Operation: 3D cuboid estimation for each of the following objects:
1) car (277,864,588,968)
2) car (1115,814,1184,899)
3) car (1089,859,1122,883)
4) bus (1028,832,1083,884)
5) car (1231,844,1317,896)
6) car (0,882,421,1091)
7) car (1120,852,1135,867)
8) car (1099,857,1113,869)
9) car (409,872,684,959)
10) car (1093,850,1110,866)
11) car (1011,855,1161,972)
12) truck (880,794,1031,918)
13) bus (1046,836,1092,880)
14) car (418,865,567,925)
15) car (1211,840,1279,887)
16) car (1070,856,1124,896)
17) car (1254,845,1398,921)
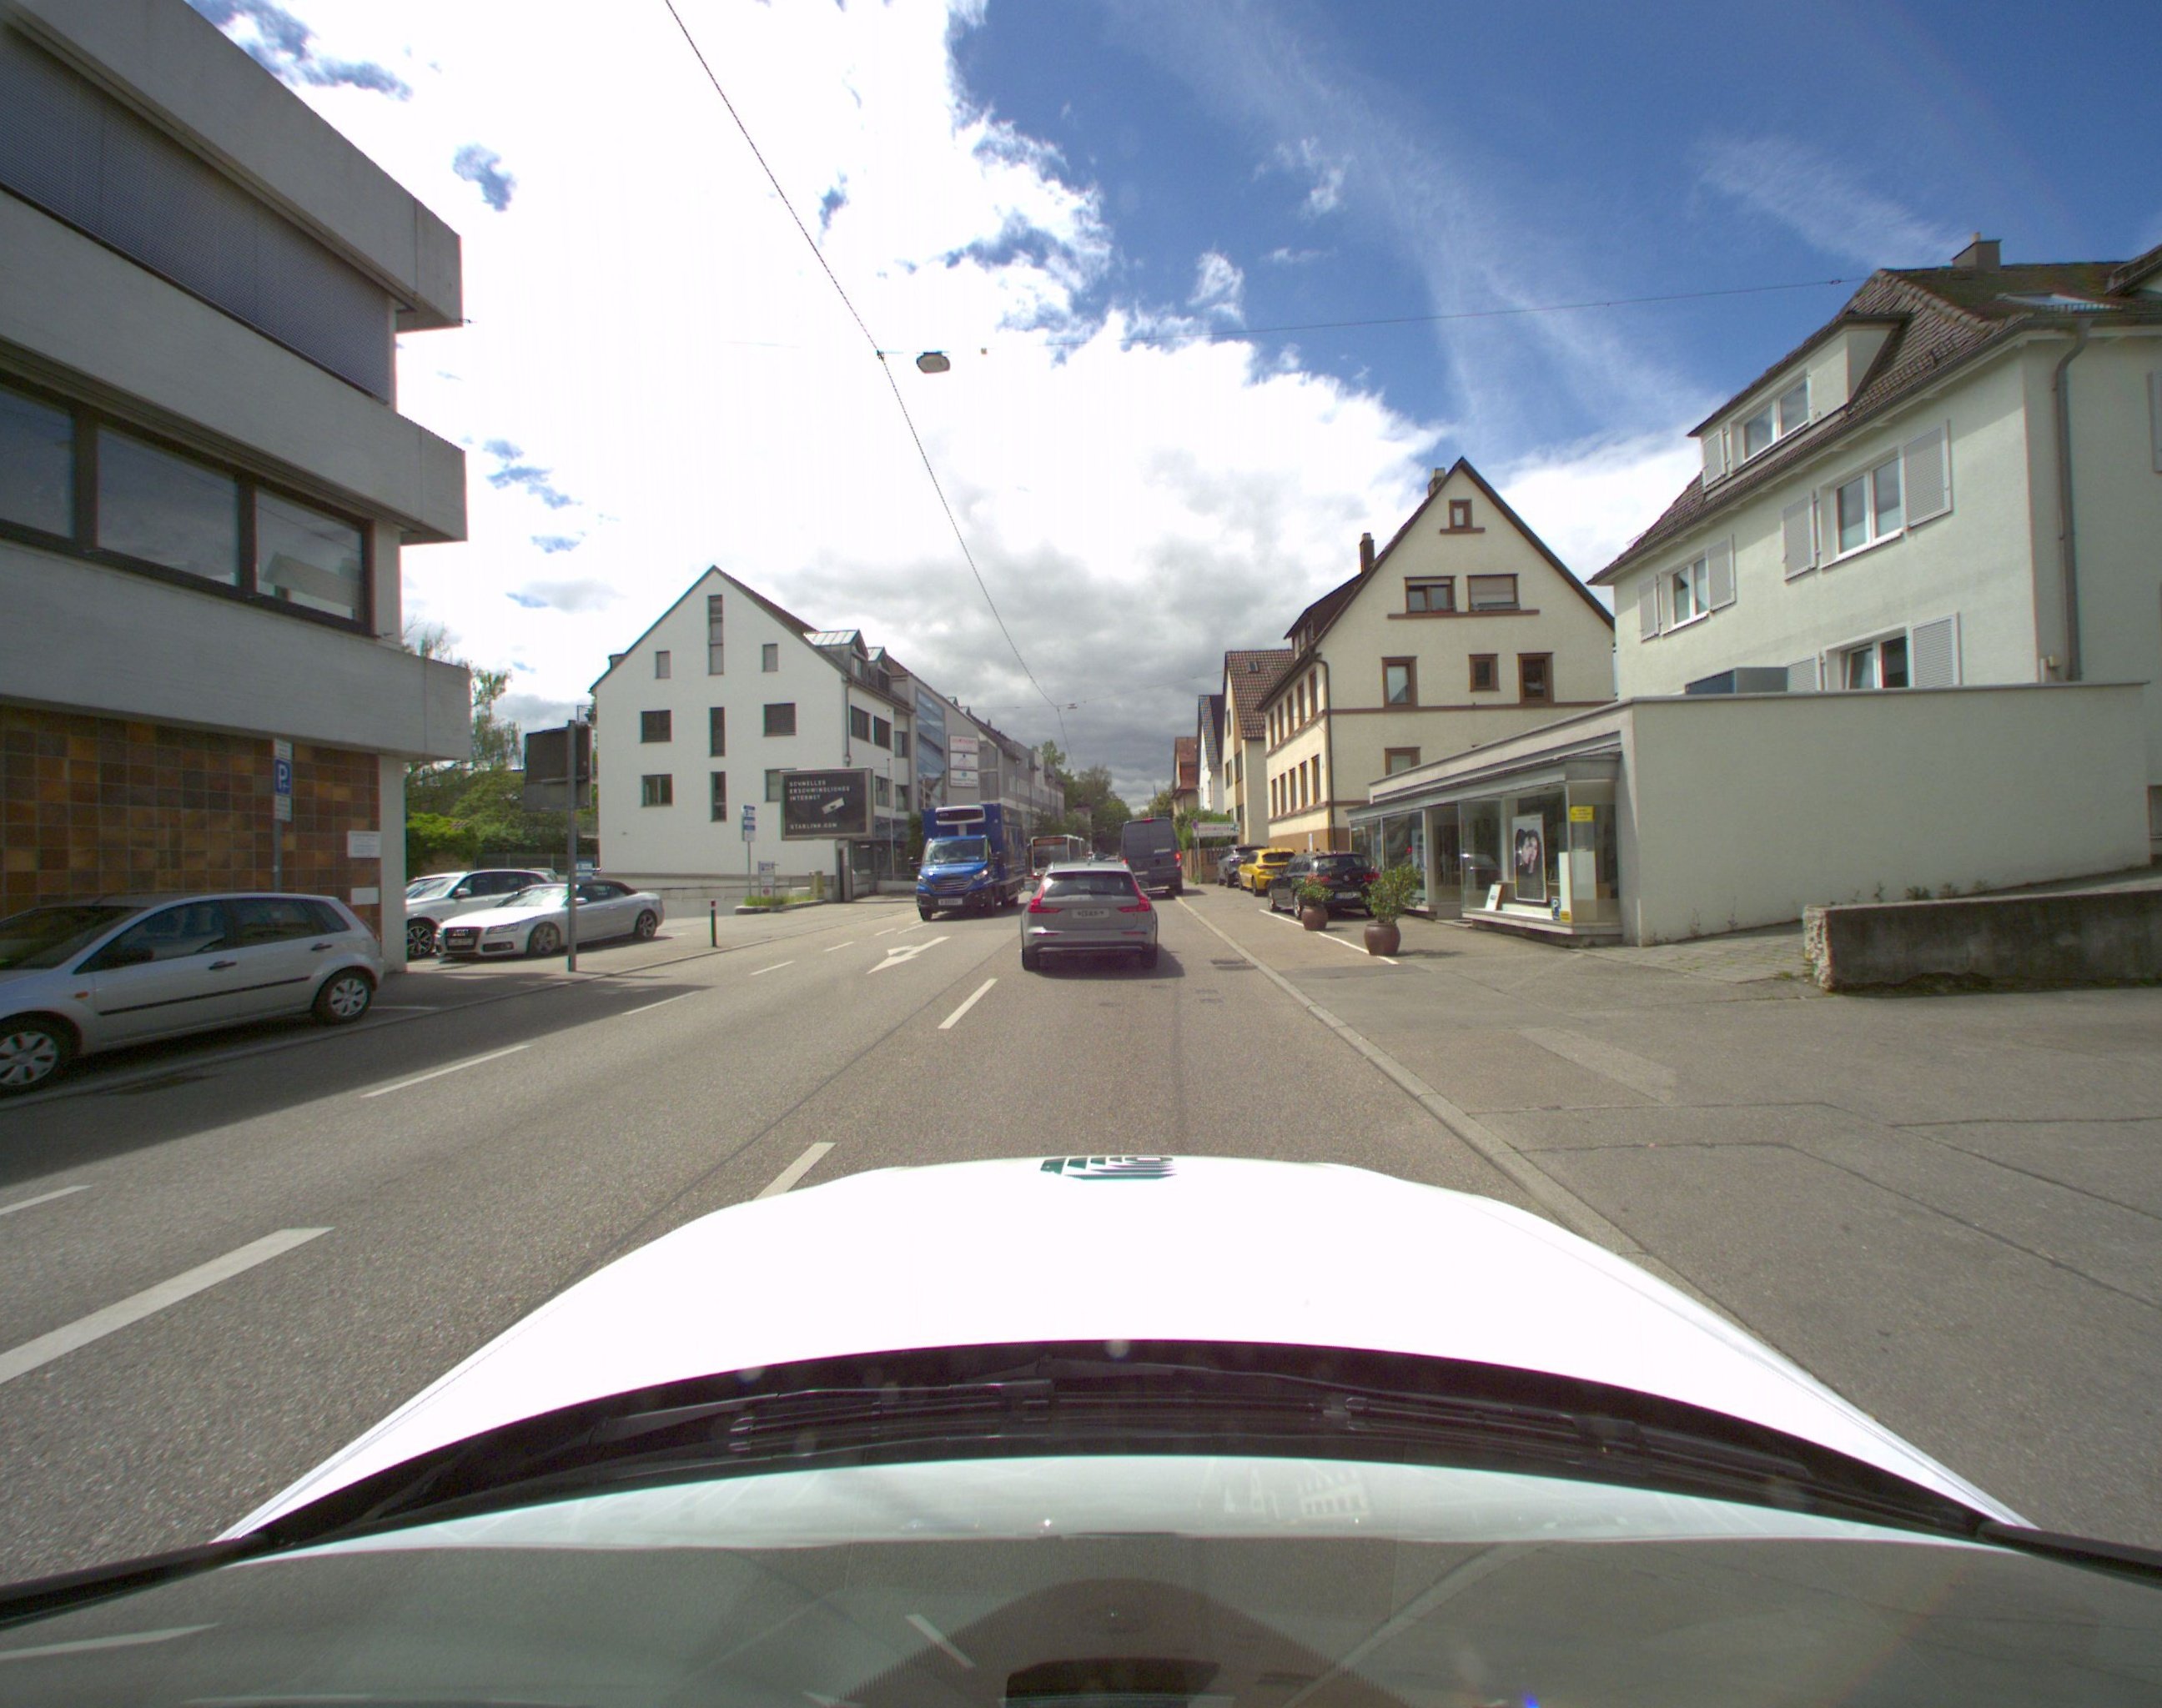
[{"bbox_3d":[-13.060,1.149,16.944,1.939,1.619,4.942,-4,0,9],"label":"car"},{"bbox_3d":[2.560,0.096,30.444,2.242,2.795,5.577,-2,0,5],"label":"car"},{"bbox_3d":[1.647,1.074,53.295,1.888,1.446,3.973,-1,0,5],"label":"car"},{"bbox_3d":[-1.610,0.263,56.453,2.670,3.163,10.195,-2,0,4],"label":"bus"},{"bbox_3d":[6.334,0.463,27.181,1.870,1.447,4.308,-2,2,1],"label":"car"},{"bbox_3d":[-8.714,1.050,7.454,1.714,1.422,4.154,-1,0,5],"label":"car"},{"bbox_3d":[6.848,0.820,119.812,1.984,2.014,4.005,-2,0,5],"label":"car"},{"bbox_3d":[3.852,1.334,125.271,2.097,1.710,4.768,-2,0,2],"label":"car"},{"bbox_3d":[-10.469,1.135,16.534,1.941,1.358,4.865,-2,0,7],"label":"car"},{"bbox_3d":[2.928,0.521,115.046,2.097,2.121,4.768,-4,0,2],"label":"car"},{"bbox_3d":[0.218,0.760,12.281,1.888,1.453,3.973,-1,0,5],"label":"car"},{"bbox_3d":[-3.454,0.070,24.842,2.841,3.093,8.095,-2,0,3],"label":"truck"},{"bbox_3d":[-0.868,0.317,65.515,2.702,3.163,8.080,-2,0,5],"label":"bus"},{"bbox_3d":[-22.005,1.476,30.719,1.828,1.989,4.657,-2,0,6],"label":"car"},{"bbox_3d":[6.326,0.355,31.977,1.853,1.612,4.588,-3,0,2],"label":"car"},{"bbox_3d":[0.698,0.827,32.362,1.888,1.446,3.973,-1,0,5],"label":"car"},{"bbox_3d":[5.430,0.587,18.694,1.961,1.447,4.536,-2,0,1],"label":"car"}]
